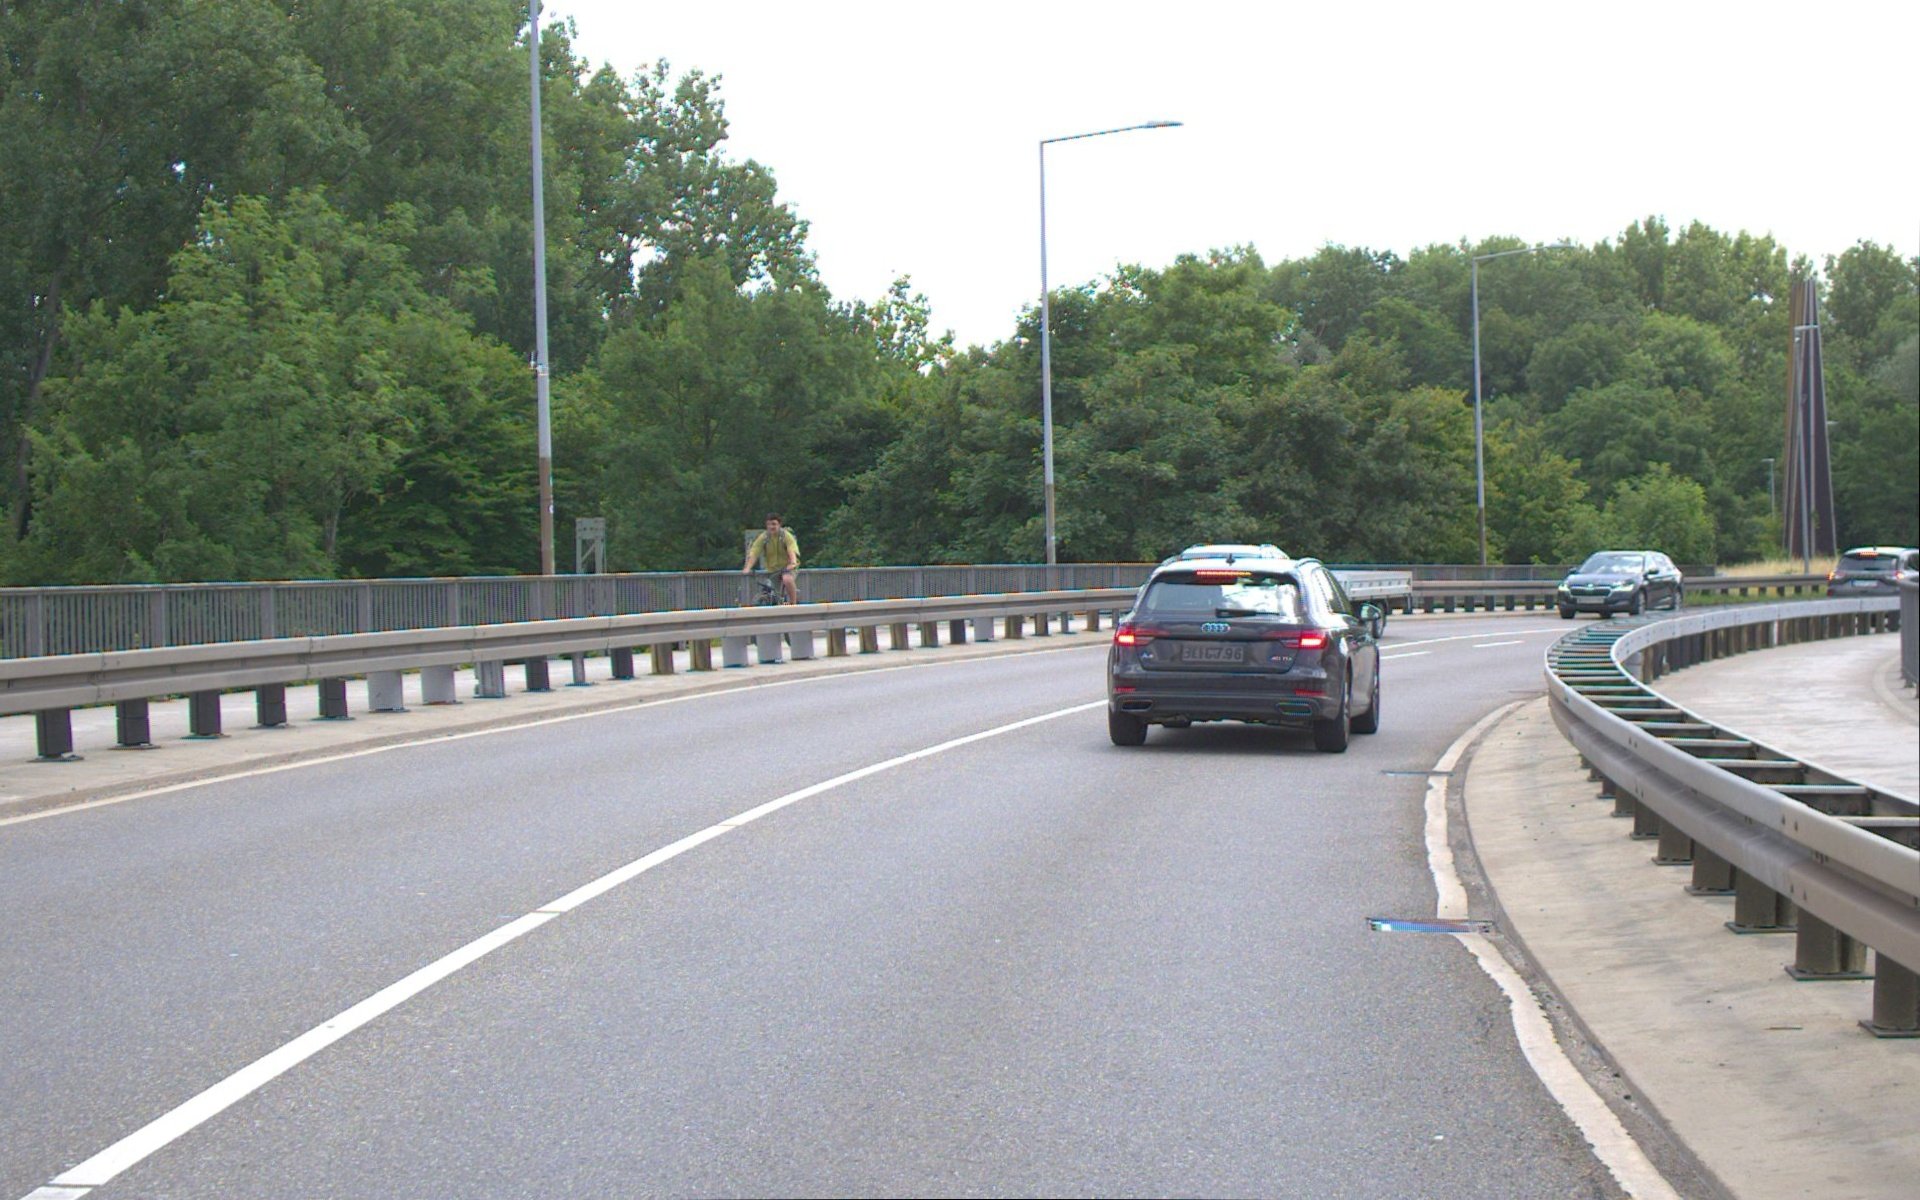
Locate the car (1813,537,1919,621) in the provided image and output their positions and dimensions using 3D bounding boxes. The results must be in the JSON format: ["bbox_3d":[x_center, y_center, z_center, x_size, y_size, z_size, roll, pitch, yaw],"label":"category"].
[{"bbox_3d":[19.581,-0.451,72.180,1.825,1.646,3.847,3,2,37],"label":"car"}]

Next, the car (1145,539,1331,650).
[{"bbox_3d":[4.130,-0.119,50.527,1.808,1.529,4.345,1,1,17],"label":"car"}]

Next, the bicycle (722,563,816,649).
[{"bbox_3d":[-2.475,0.062,44.818,0.769,1.091,2.115,0,1,9],"label":"bicycle"}]

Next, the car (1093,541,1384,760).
[{"bbox_3d":[2.252,0.324,26.772,1.828,1.486,4.205,2,1,10],"label":"car"}]

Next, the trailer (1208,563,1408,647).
[{"bbox_3d":[5.689,0.040,55.462,2.047,1.205,5.978,1,1,17],"label":"trailer"}]

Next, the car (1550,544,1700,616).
[{"bbox_3d":[14.502,-0.460,74.768,1.820,1.446,4.729,2,2,29],"label":"car"}]

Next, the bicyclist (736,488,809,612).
[{"bbox_3d":[-2.445,-0.657,44.973,0.767,1.597,0.947,0,1,9],"label":"bicyclist"}]
